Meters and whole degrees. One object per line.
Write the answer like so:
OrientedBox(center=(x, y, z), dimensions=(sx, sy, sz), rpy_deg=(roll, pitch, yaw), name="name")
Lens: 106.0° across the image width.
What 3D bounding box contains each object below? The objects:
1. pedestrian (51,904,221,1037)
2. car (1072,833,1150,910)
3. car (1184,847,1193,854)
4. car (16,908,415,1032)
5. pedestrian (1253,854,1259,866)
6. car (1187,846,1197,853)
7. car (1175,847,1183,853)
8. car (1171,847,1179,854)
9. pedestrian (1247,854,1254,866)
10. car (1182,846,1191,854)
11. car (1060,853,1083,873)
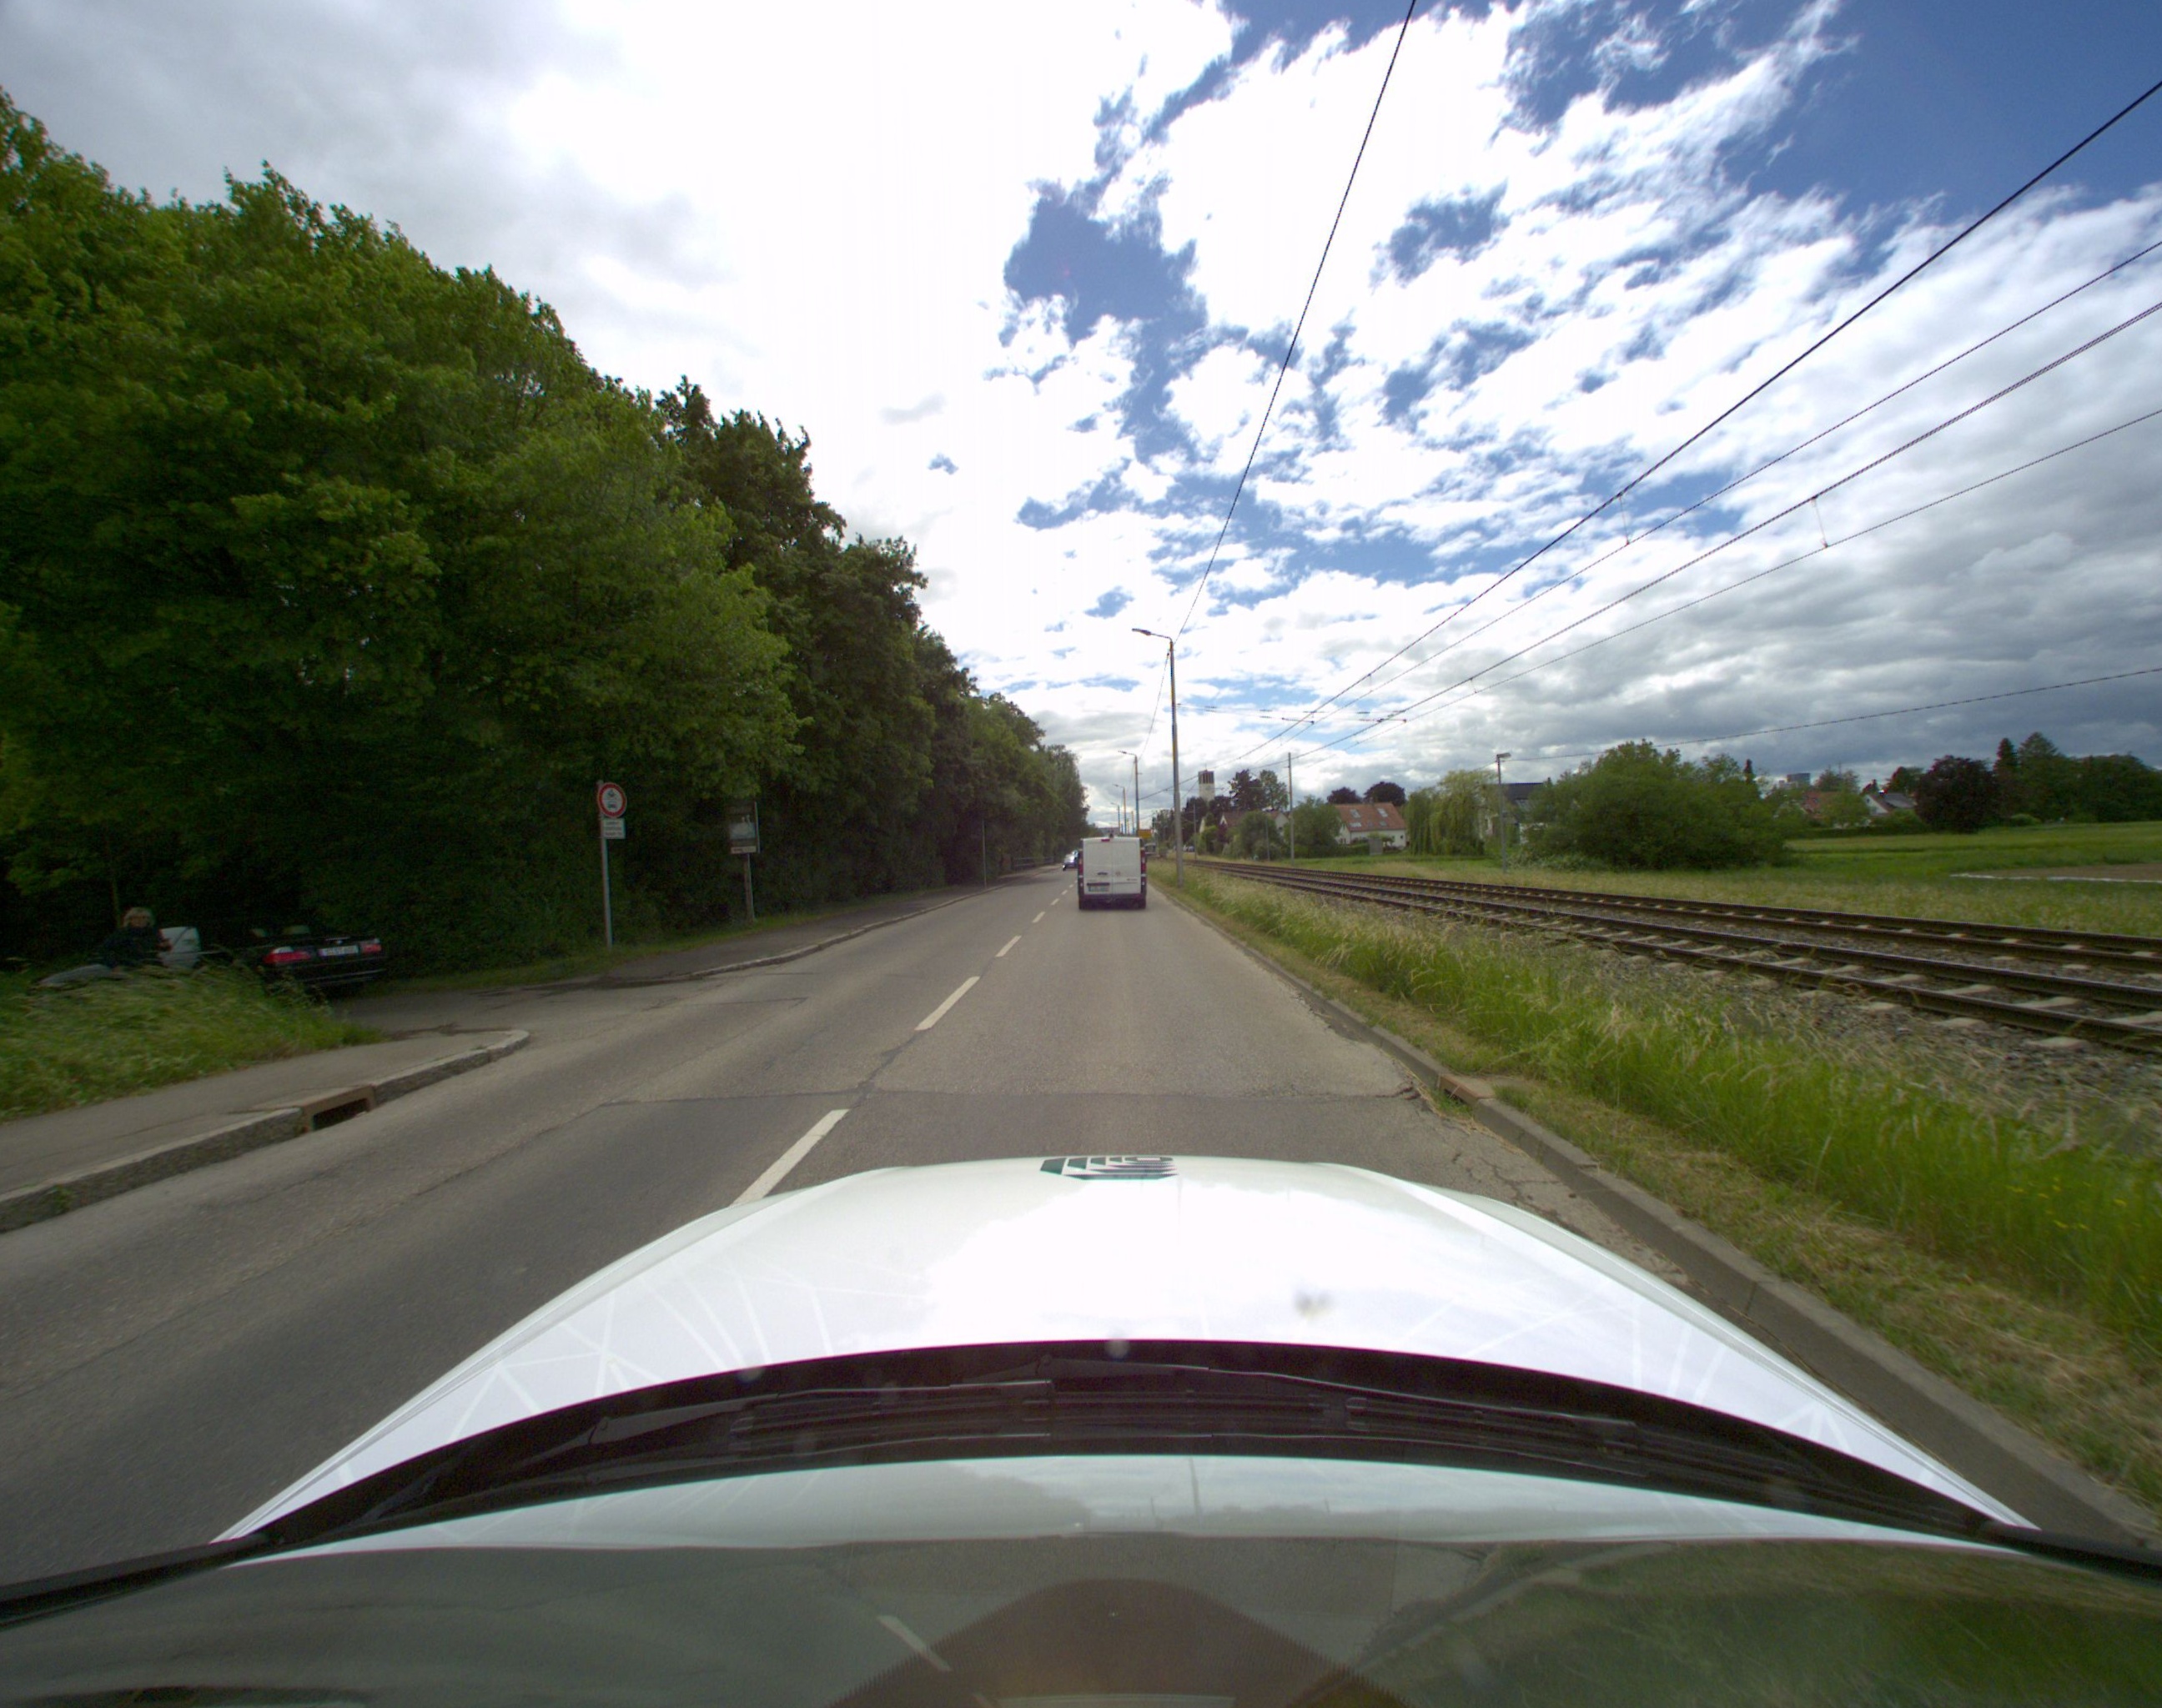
OrientedBox(center=(-12.089, 1.464, 10.462), dimensions=(1.031, 1.530, 0.942), rpy_deg=(-3, -1, 2), name="pedestrian")
OrientedBox(center=(0.808, 0.431, 23.205), dimensions=(1.987, 1.957, 4.000), rpy_deg=(-2, 1, 0), name="car")
OrientedBox(center=(29.326, -1.026, 222.635), dimensions=(1.987, 1.816, 4.000), rpy_deg=(0, -2, 1), name="car")
OrientedBox(center=(-12.400, 1.627, 11.843), dimensions=(3.970, 1.299, 1.746), rpy_deg=(-4, -1, 3), name="car")
OrientedBox(center=(21.902, 0.715, 101.980), dimensions=(0.524, 1.506, 0.657), rpy_deg=(-2, -1, 1), name="pedestrian")
OrientedBox(center=(29.487, -1.088, 216.592), dimensions=(1.987, 1.717, 4.000), rpy_deg=(0, -2, 1), name="car")
OrientedBox(center=(29.980, -1.275, 249.154), dimensions=(1.987, 1.816, 4.000), rpy_deg=(0, -2, 1), name="car")
OrientedBox(center=(29.624, -1.110, 256.766), dimensions=(1.987, 1.816, 4.000), rpy_deg=(0, -2, 1), name="car")
OrientedBox(center=(21.278, 0.724, 102.218), dimensions=(0.654, 1.506, 0.657), rpy_deg=(-2, -1, 1), name="pedestrian")
OrientedBox(center=(29.442, -1.081, 226.981), dimensions=(1.987, 2.014, 4.000), rpy_deg=(0, -2, 1), name="car")
OrientedBox(center=(-0.872, 0.833, 76.589), dimensions=(1.987, 1.717, 4.123), rpy_deg=(-2, 0, 0), name="car")
